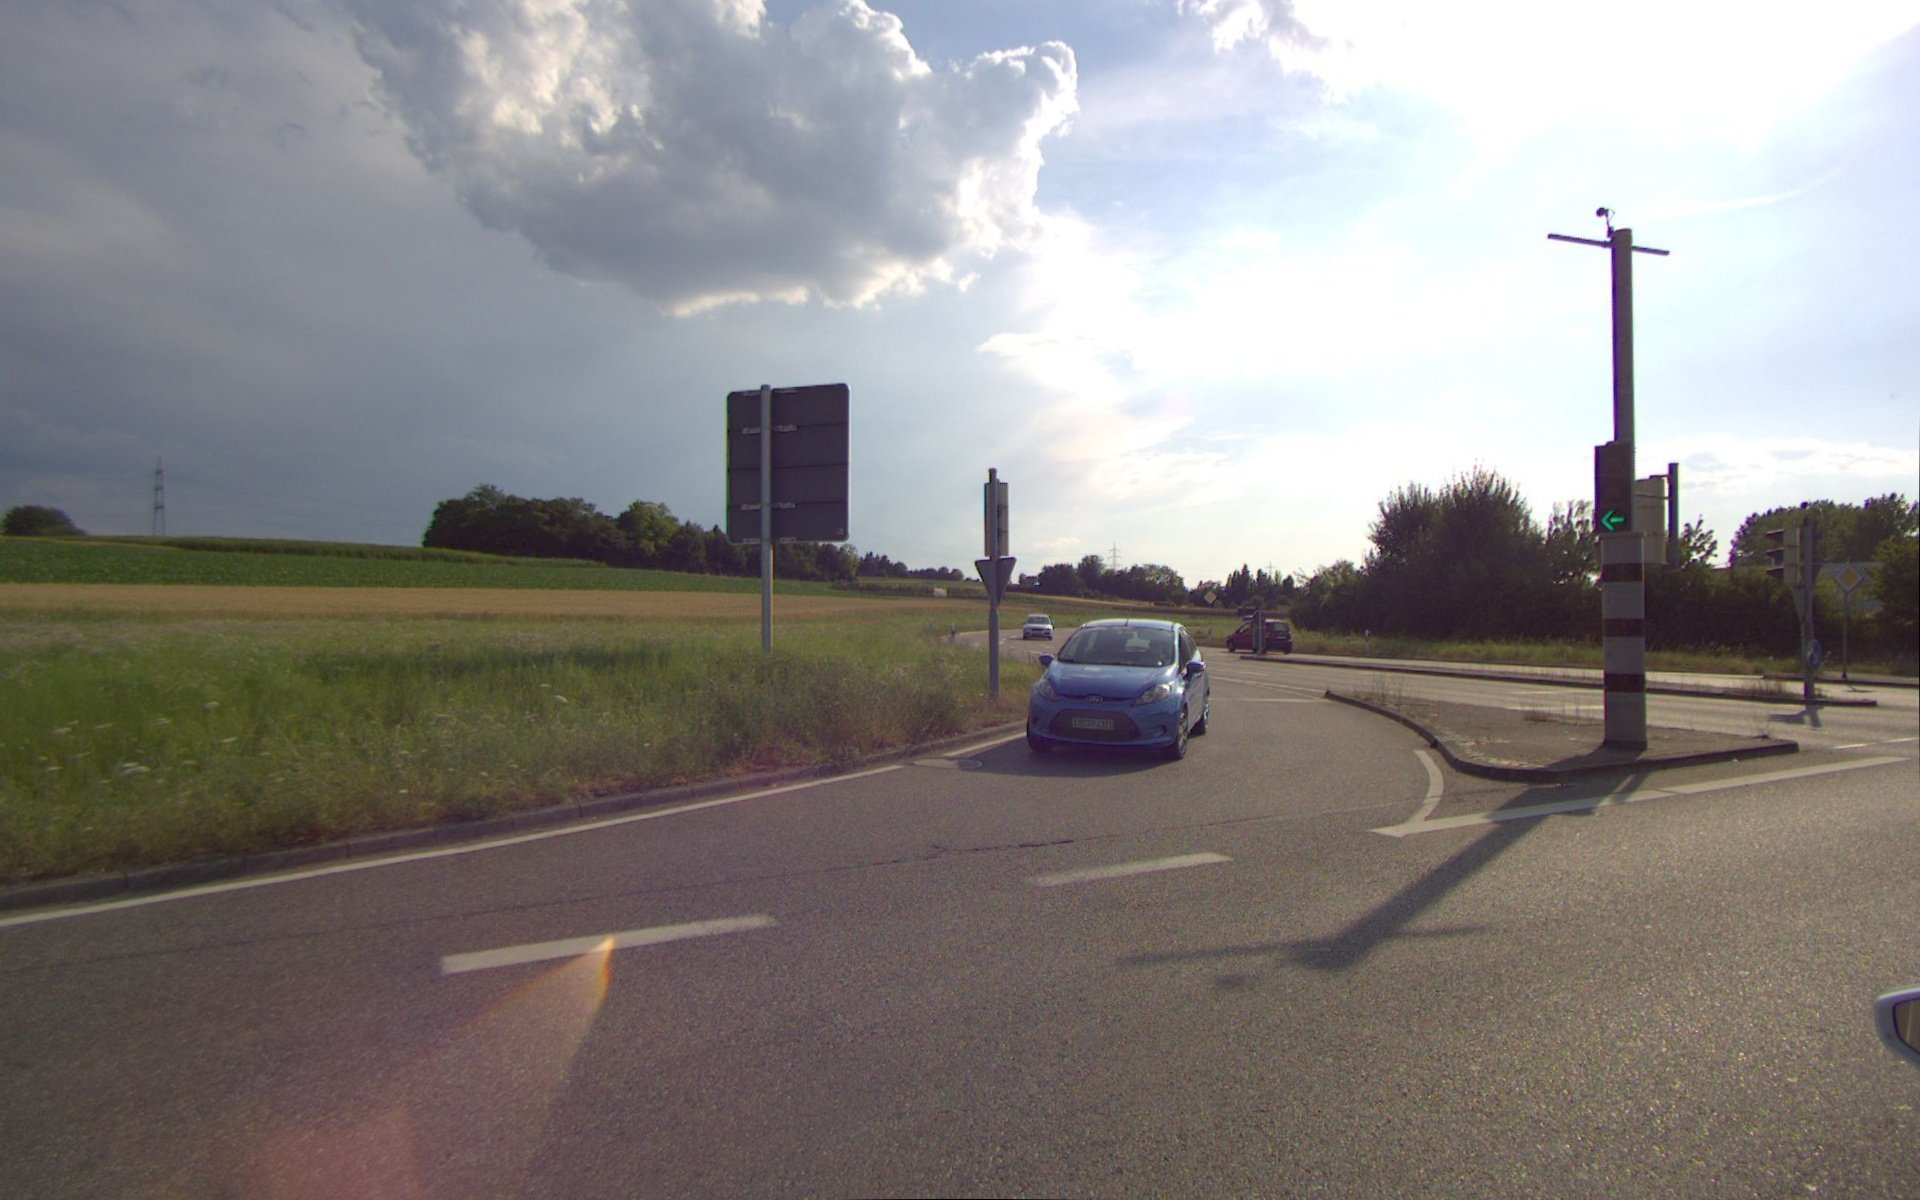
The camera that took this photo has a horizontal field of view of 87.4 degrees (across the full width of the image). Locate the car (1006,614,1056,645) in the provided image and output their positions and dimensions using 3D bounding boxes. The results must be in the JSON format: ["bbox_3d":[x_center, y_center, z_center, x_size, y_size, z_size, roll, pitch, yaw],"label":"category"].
[{"bbox_3d":[4.281,1.757,61.054,1.789,1.549,4.341,2,1,-13],"label":"car"}]

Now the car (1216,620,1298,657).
[{"bbox_3d":[13.787,1.771,46.857,1.702,1.520,3.838,2,0,-21],"label":"car"}]

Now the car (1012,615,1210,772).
[{"bbox_3d":[1.961,0.947,11.975,1.730,1.521,4.001,0,-1,18],"label":"car"}]
